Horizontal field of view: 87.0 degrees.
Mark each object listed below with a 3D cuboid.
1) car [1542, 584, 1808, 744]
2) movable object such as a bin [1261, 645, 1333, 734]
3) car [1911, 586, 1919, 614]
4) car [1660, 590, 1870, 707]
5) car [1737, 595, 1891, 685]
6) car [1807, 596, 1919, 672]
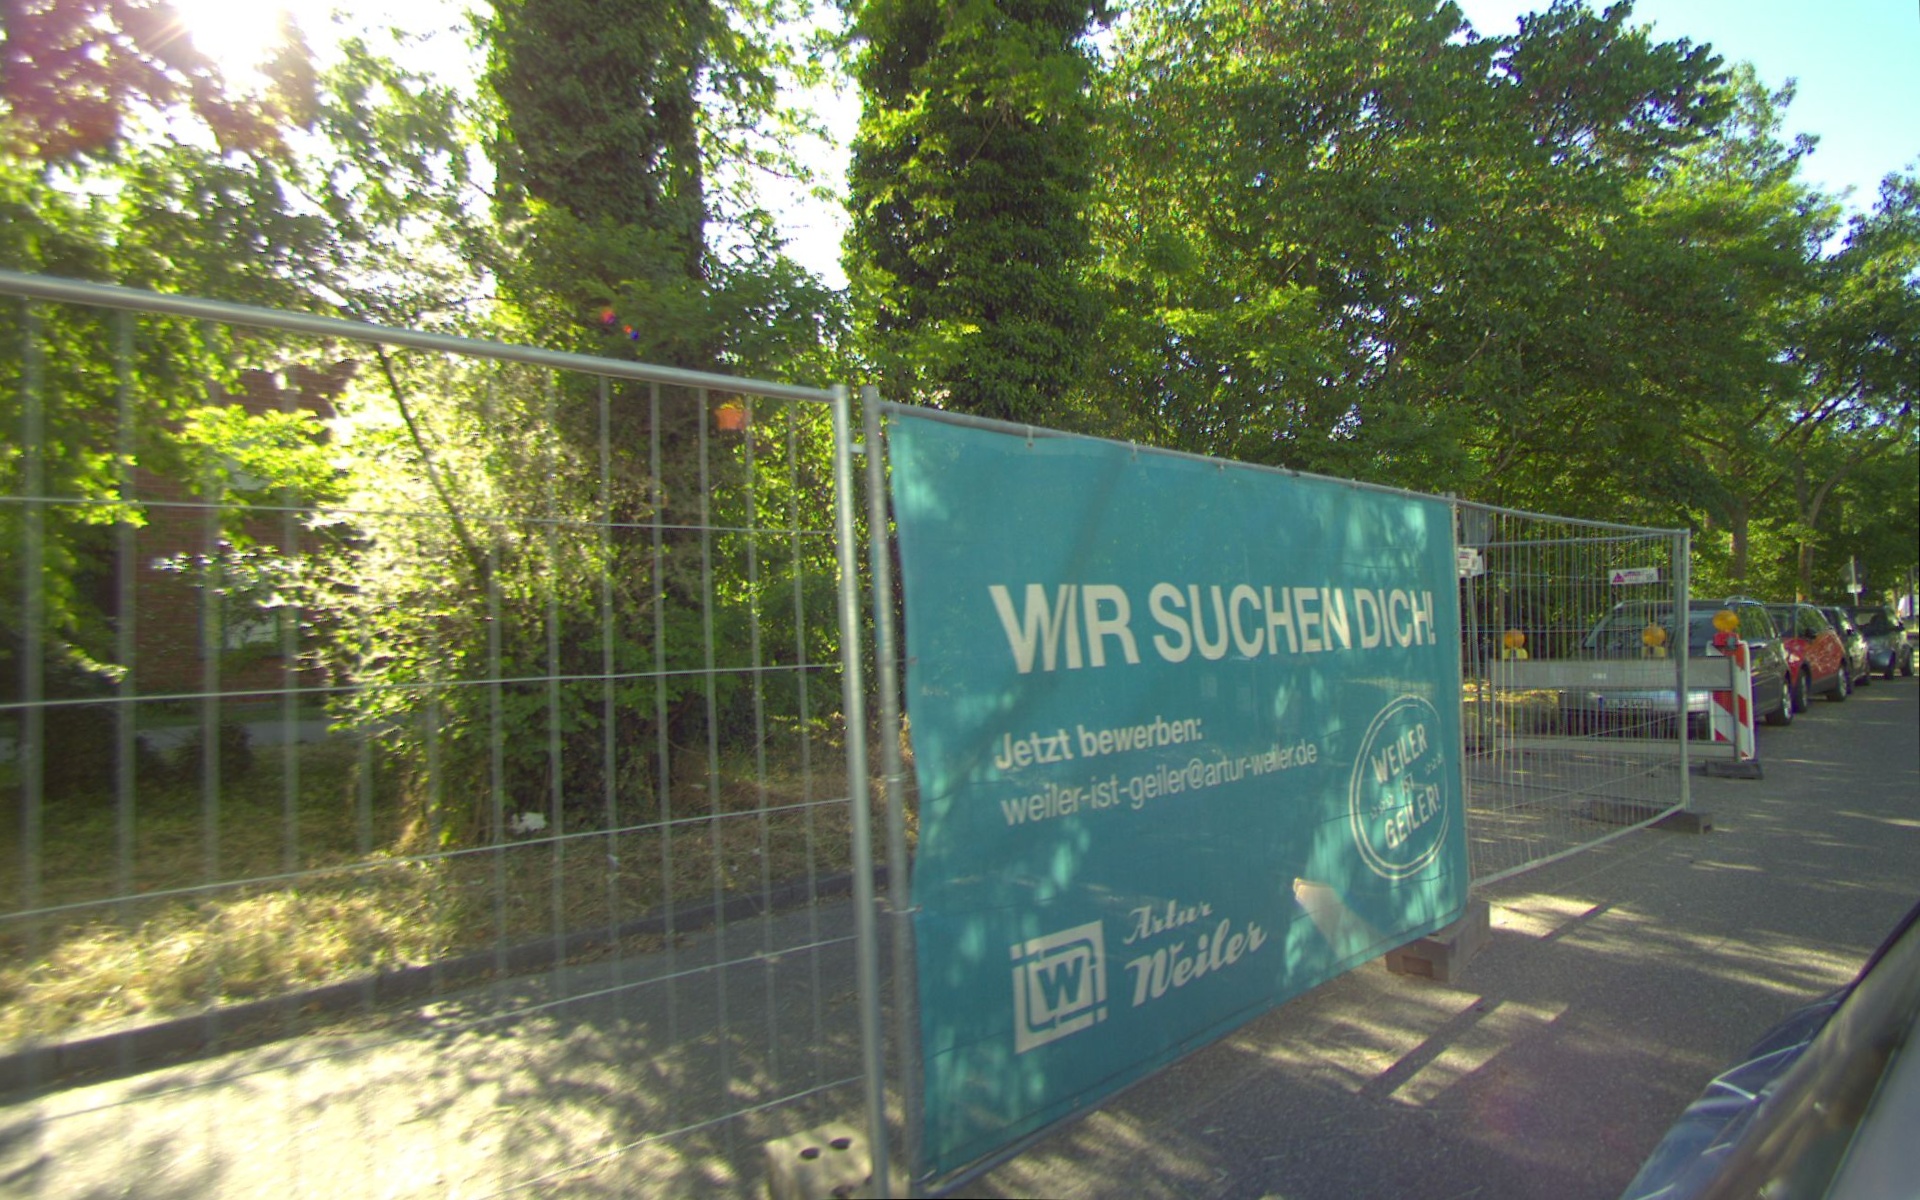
[{"bbox_3d":[8.818,0.684,12.352,4.065,1.643,1.681,0,-2,-41],"label":"car"},{"bbox_3d":[3.493,0.912,10.488,0.550,0.872,0.484,0,-2,-43],"label":"movable object such as a bin"},{"bbox_3d":[71.345,0.013,72.000,1.965,2.030,5.263,0,0,-41],"label":"car"},{"bbox_3d":[12.600,0.686,15.764,3.993,1.594,1.682,0,-2,-39],"label":"car"},{"bbox_3d":[16.279,0.717,19.231,4.079,1.529,1.713,0,-2,-43],"label":"car"},{"bbox_3d":[19.545,0.710,21.732,2.628,1.529,1.497,0,-2,-38],"label":"car"}]
